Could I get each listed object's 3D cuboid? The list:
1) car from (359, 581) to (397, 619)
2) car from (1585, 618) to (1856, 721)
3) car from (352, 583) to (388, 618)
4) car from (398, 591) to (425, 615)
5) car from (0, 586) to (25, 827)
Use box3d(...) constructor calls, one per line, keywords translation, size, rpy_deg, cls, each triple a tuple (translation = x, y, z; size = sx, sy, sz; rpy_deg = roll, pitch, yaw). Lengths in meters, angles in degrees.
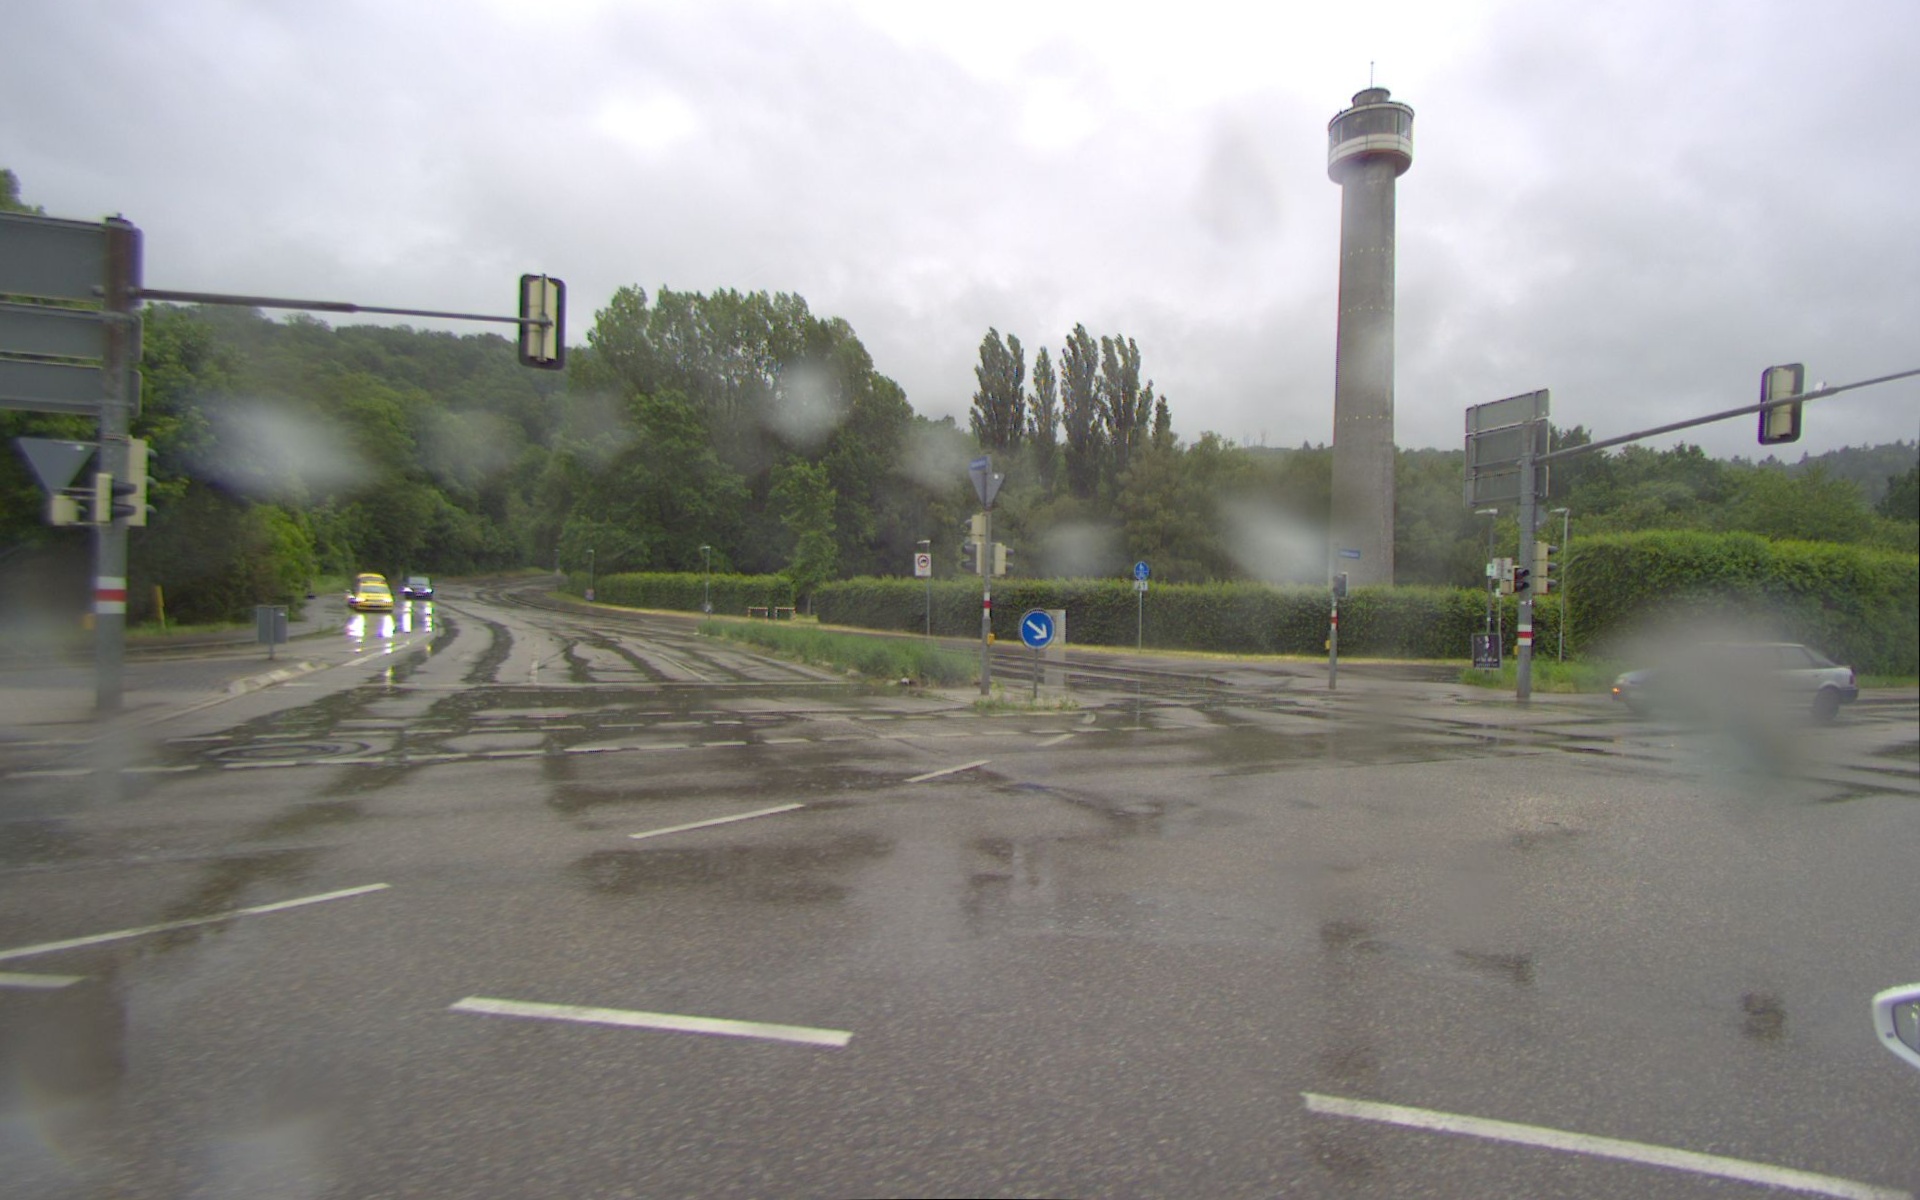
box3d(translation=(-33.278, 0.015, 57.482), size=(1.792, 2.053, 3.655), rpy_deg=(1, 0, -29), cls="car")
box3d(translation=(14.162, 1.246, 18.781), size=(3.998, 1.731, 2.037), rpy_deg=(1, 0, -16), cls="car")
box3d(translation=(-35.782, 0.030, 61.016), size=(1.792, 2.040, 3.654), rpy_deg=(1, 0, -30), cls="car")
box3d(translation=(-43.802, 0.194, 80.233), size=(1.810, 1.840, 3.969), rpy_deg=(1, 0, -29), cls="car")
box3d(translation=(-7.524, 0.599, 4.625), size=(4.403, 1.485, 1.699), rpy_deg=(2, 0, -32), cls="car")
